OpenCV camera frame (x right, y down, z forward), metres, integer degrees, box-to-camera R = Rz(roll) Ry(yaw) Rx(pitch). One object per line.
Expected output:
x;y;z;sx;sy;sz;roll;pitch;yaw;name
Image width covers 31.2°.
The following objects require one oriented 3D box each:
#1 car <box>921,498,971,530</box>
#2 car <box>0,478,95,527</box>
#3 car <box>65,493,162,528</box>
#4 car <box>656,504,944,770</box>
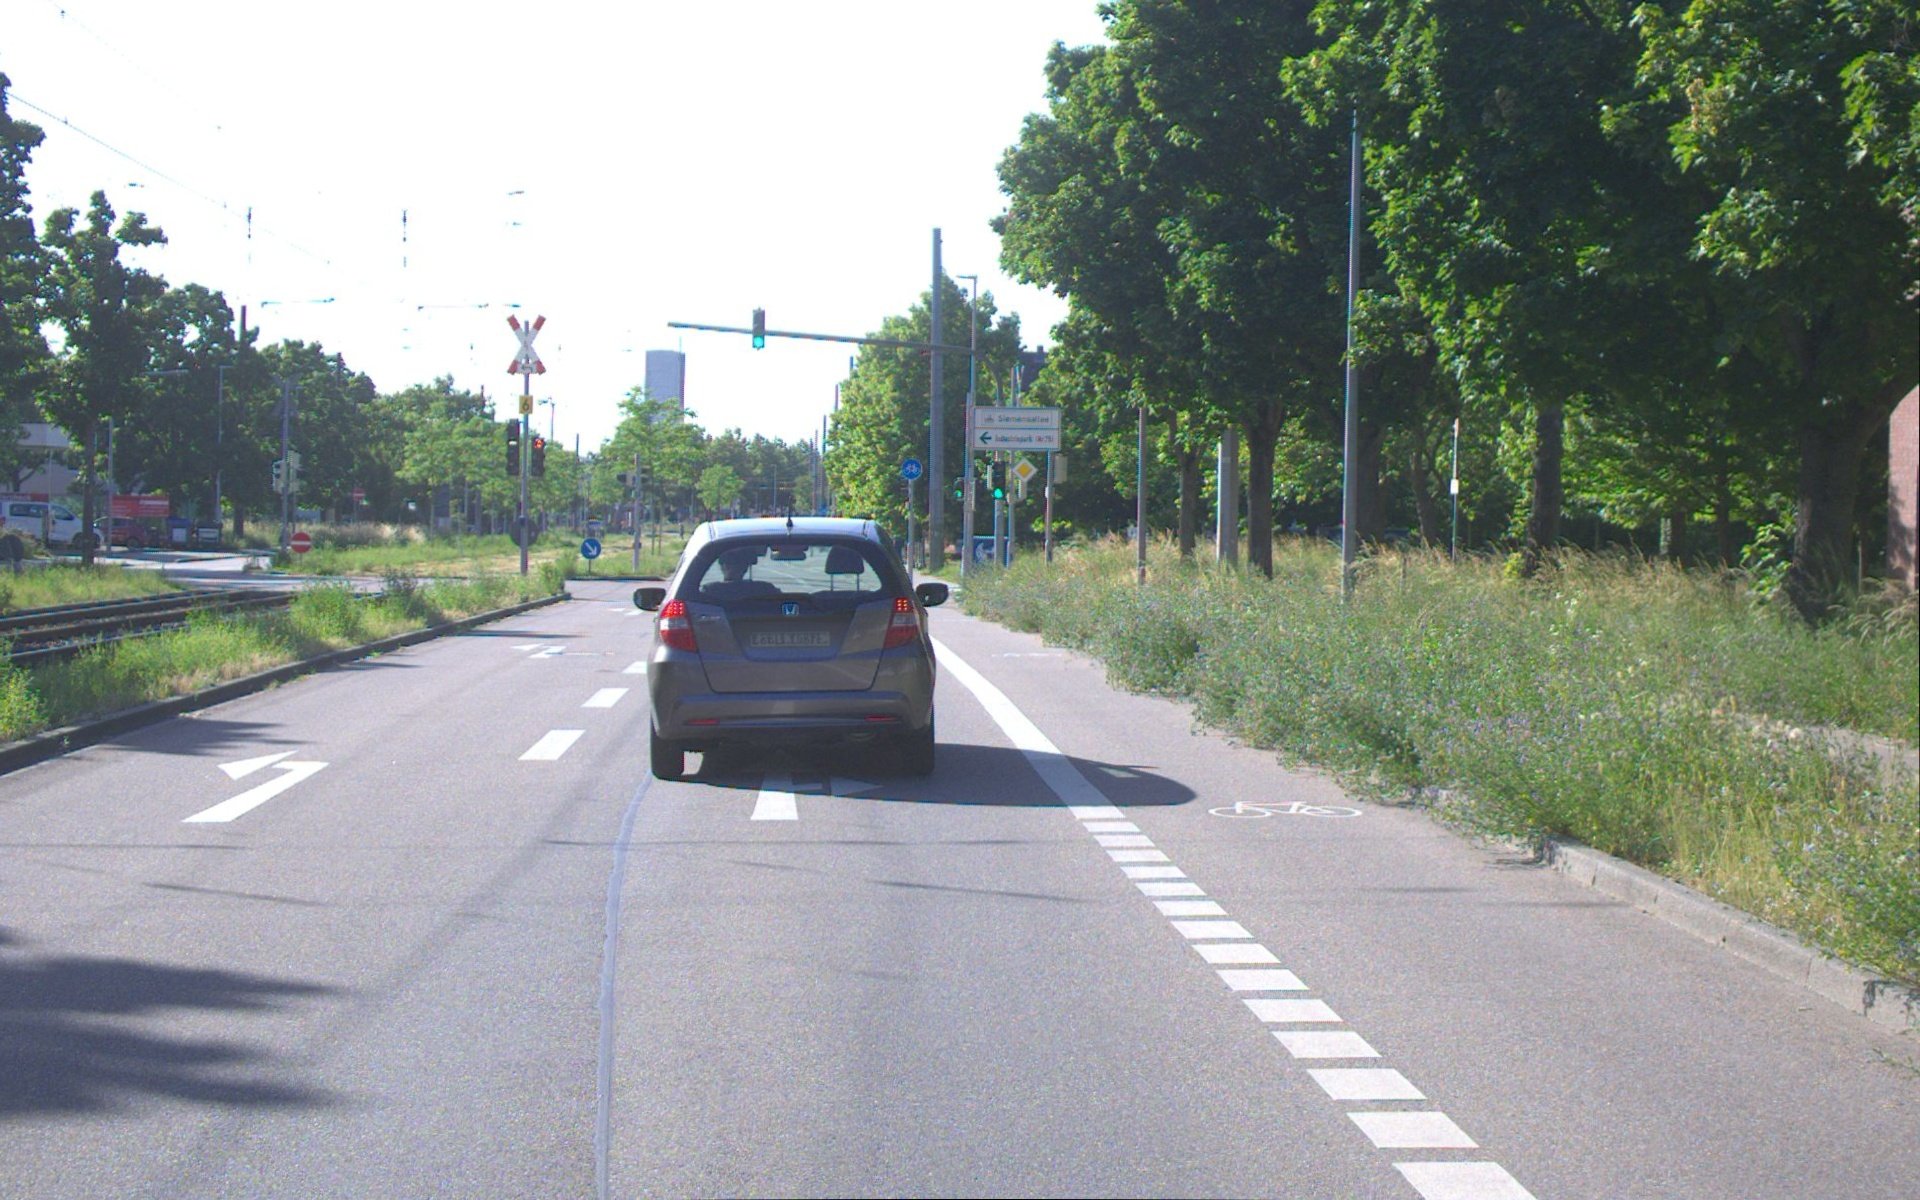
-0.636;-3.796;151.878;1.773;1.382;3.871;0;1;-7;car
-37.918;-3.991;140.675;1.859;1.967;4.776;2;2;37;car
-38.716;-4.101;157.358;4.070;1.563;1.792;1;2;-6;car
-1.015;0.166;21.118;1.624;1.494;3.457;0;1;-4;car
